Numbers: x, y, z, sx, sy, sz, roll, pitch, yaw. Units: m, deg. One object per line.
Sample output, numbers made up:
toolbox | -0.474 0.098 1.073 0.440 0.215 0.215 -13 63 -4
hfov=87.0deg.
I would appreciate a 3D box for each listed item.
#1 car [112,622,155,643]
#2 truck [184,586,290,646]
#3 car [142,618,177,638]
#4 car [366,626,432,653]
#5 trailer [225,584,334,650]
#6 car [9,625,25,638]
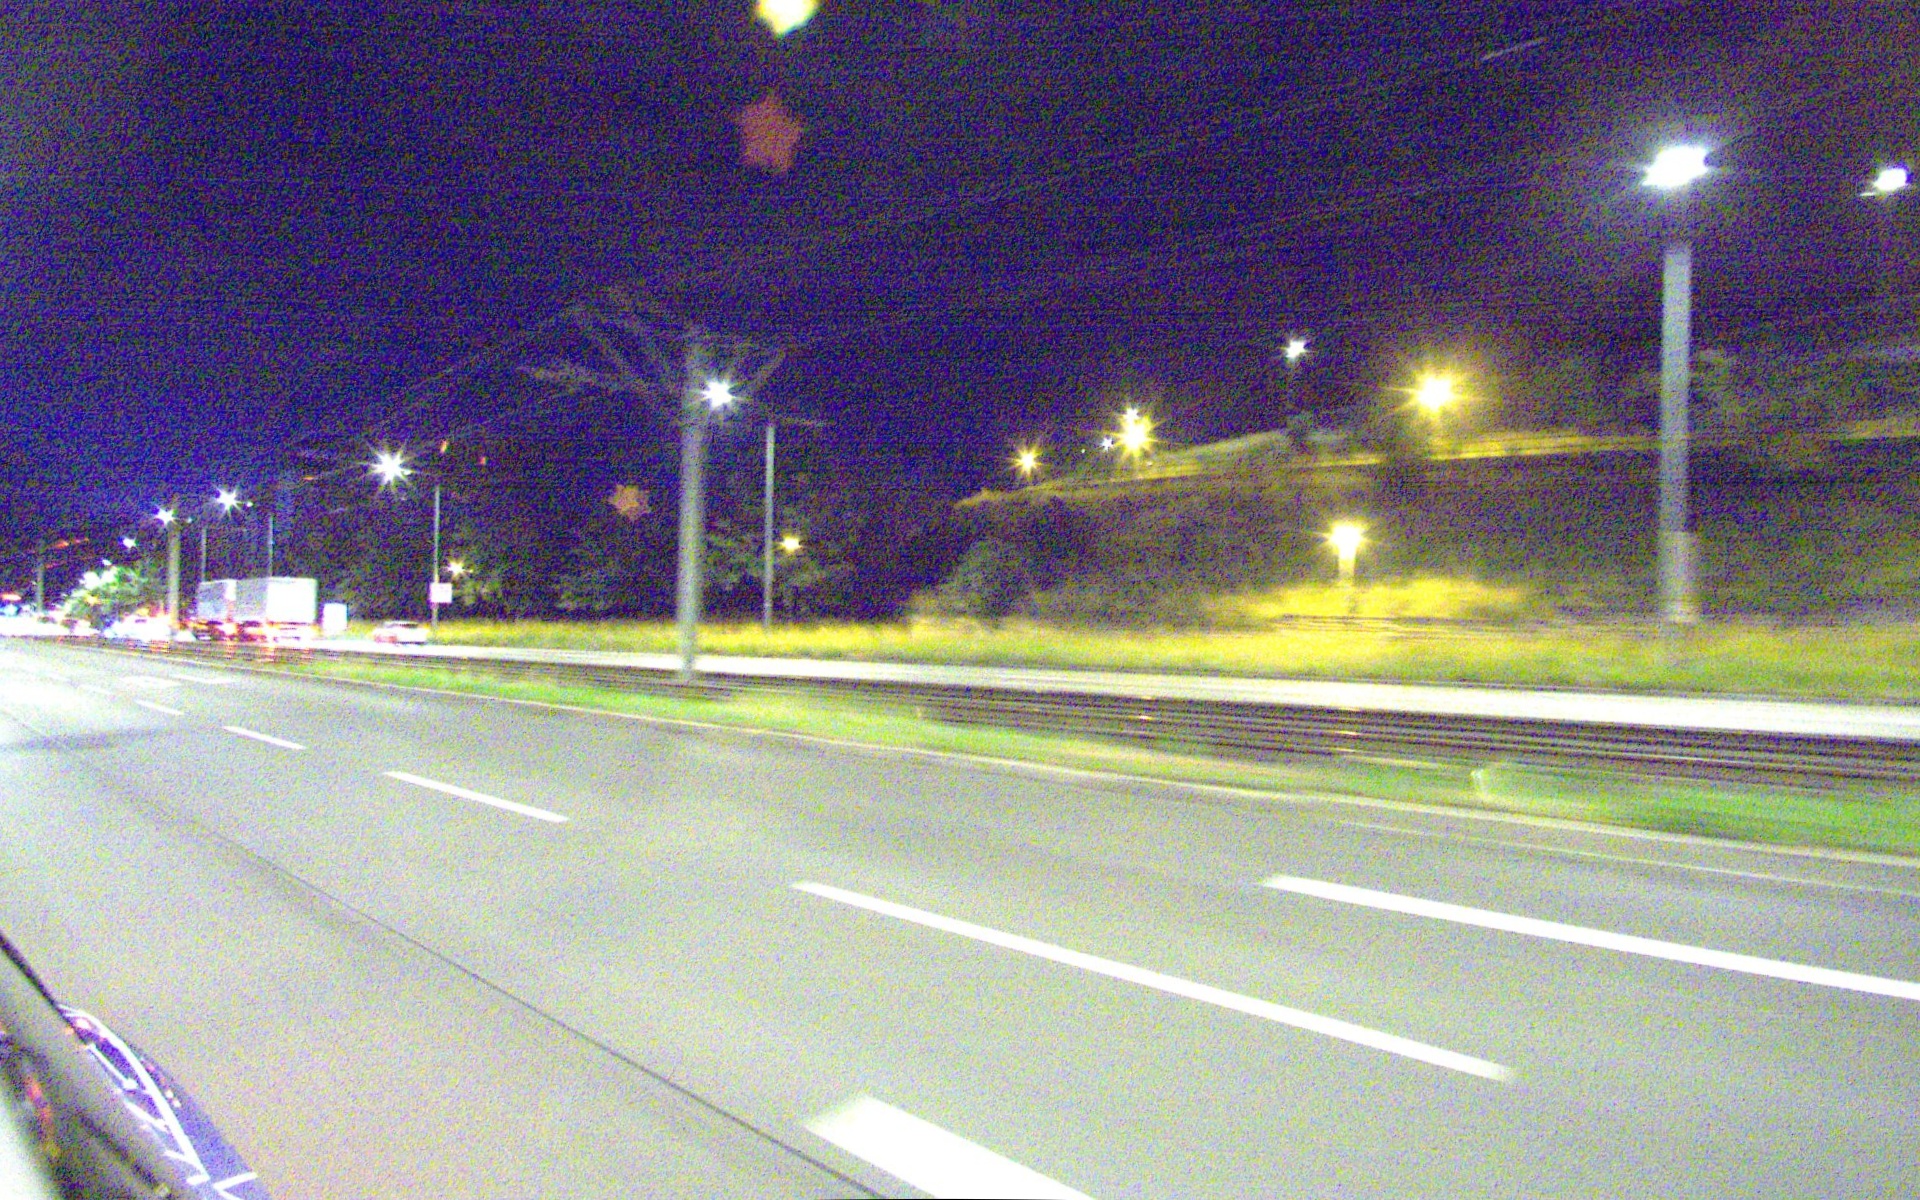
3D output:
car | -63.413 2.487 77.652 4.080 1.510 1.786 -1 -1 39
truck | -51.053 1.069 71.271 10.414 3.984 3.644 -1 0 40
car | -67.717 2.359 85.566 3.961 1.637 1.707 -1 0 42
car | -32.735 2.309 59.016 4.201 1.492 1.966 -1 -3 40
trailer | -43.839 1.029 65.129 8.389 4.019 3.659 -1 0 40
car | -146.575 4.839 157.332 1.769 1.921 4.003 -1 0 -44
